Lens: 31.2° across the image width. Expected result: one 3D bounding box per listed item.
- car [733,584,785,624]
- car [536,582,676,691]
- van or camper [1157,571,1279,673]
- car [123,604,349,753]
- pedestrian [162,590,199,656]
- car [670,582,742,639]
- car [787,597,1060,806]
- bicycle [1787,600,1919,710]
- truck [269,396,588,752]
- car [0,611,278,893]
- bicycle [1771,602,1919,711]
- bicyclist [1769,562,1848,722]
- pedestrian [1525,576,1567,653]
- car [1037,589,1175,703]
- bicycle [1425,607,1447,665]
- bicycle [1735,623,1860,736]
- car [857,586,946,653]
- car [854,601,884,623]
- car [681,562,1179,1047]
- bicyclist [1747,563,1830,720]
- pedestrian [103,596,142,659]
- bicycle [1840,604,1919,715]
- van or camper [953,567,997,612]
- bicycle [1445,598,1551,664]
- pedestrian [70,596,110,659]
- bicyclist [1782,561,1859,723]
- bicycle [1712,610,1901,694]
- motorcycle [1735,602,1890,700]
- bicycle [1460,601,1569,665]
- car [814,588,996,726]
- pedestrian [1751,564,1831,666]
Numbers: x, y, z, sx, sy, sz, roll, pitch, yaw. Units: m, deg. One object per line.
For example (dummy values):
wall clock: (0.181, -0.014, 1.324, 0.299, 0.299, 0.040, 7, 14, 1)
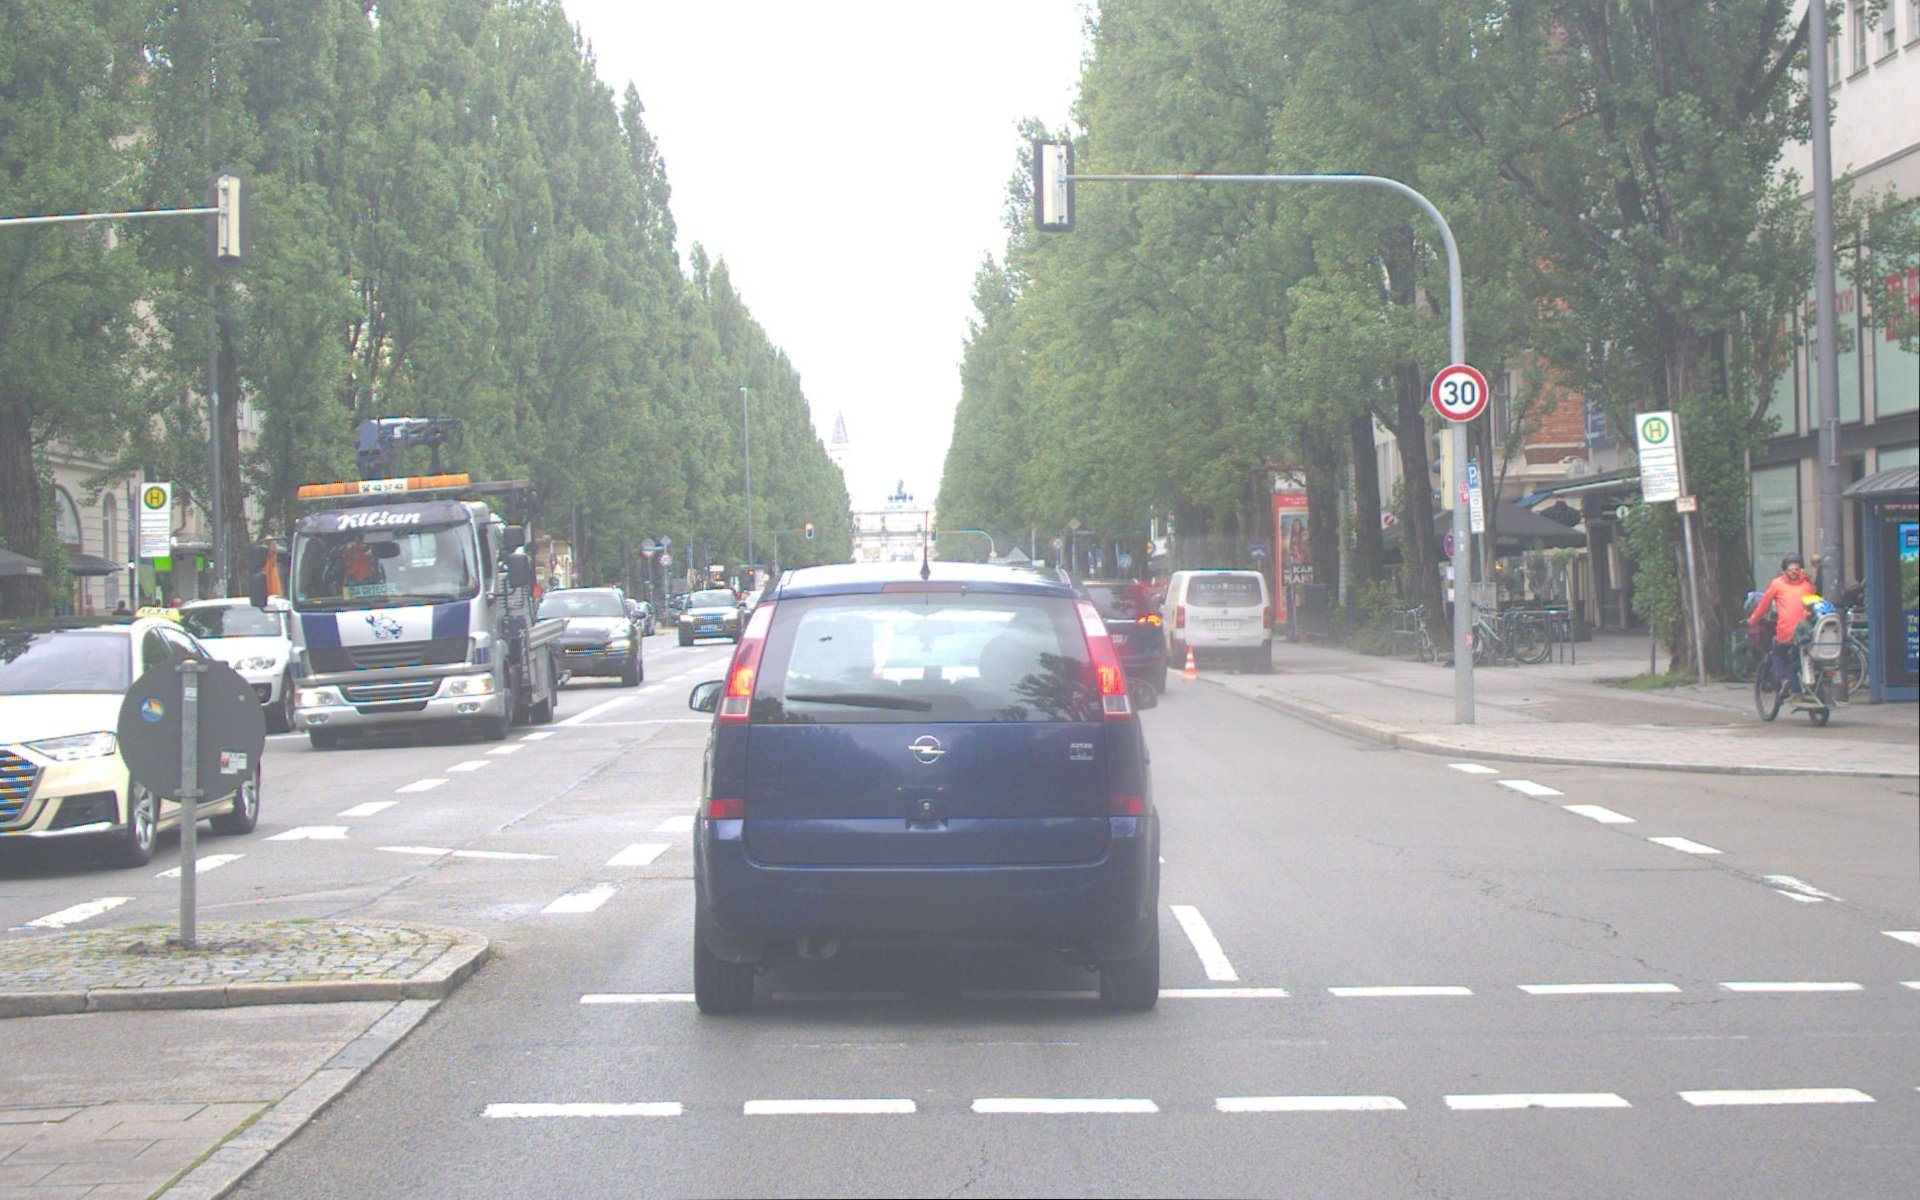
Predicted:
car: (-8.212, 0.148, 141.007, 1.935, 1.618, 4.336, -1, 0, -1)
car: (-5.908, 0.577, 57.856, 1.884, 1.740, 4.439, -1, 0, 0)
van or camper: (4.921, 0.397, 66.214, 1.868, 1.876, 4.903, 0, 0, -1)
car: (-9.072, 0.939, 43.434, 1.837, 1.710, 4.636, -2, 0, 0)
pedestrian: (-20.010, 0.586, 88.278, 0.734, 1.667, 0.952, -1, 0, -1)
car: (-7.694, 0.304, 104.409, 1.913, 1.675, 4.586, -1, 0, -1)
car: (-0.332, 0.752, 27.472, 1.993, 1.492, 4.000, -1, 0, -2)
bicycle: (10.825, 0.630, 39.914, 2.315, 1.248, 0.477, -1, 0, -1)
truck: (-5.987, -0.289, 39.983, 2.463, 3.658, 8.440, -1, 0, -1)
car: (-5.630, 0.863, 21.360, 1.843, 1.496, 4.986, -2, 0, -1)
bicycle: (10.844, 0.654, 40.640, 2.343, 1.248, 0.633, -1, 0, -1)
bicyclist: (8.508, 0.416, 34.481, 0.621, 1.583, 0.481, -1, 0, -1)
pedestrian: (14.116, 0.353, 82.864, 0.826, 1.835, 1.099, -1, 0, 2)
car: (2.072, 0.650, 49.710, 1.706, 1.569, 4.000, 0, -1, -2)
bicycle: (8.894, 0.665, 64.247, 0.364, 1.034, 1.730, -1, 0, 7)
bicycle: (8.506, 0.789, 34.992, 0.626, 1.083, 2.264, -1, 0, -2)
car: (-1.375, 0.432, 79.445, 1.993, 1.492, 4.000, -1, 0, -2)
car: (-5.971, 0.763, 225.558, 1.961, 1.395, 3.779, -1, 0, -1)
car: (-0.164, 0.683, 13.651, 1.681, 1.635, 4.000, 0, 0, -2)
bicyclist: (8.490, 0.420, 35.242, 0.621, 1.583, 0.753, -1, 0, -1)
pedestrian: (-20.927, 0.681, 85.868, 0.768, 1.532, 0.805, -1, 0, -1)
bicycle: (11.078, 0.662, 38.647, 2.242, 1.248, 0.476, -1, 0, 24)
van or camper: (0.868, -0.629, 202.728, 2.476, 2.572, 5.844, -1, 0, -1)
bicycle: (9.298, 0.532, 59.431, 1.737, 1.107, 0.448, -1, 0, -11)
pedestrian: (-21.752, 0.682, 85.954, 0.768, 1.532, 0.805, -1, 0, -1)
bicyclist: (8.522, 0.415, 34.064, 0.621, 1.583, 0.391, -1, 0, -1)
bicycle: (10.646, 0.647, 43.294, 2.148, 1.013, 0.874, -1, 0, -1)
motorcycle: (10.286, 0.612, 41.525, 1.724, 1.136, 0.510, -1, 0, 1)
bicycle: (9.471, 0.560, 58.732, 1.757, 1.040, 0.484, -1, 0, -12)
car: (-0.672, 0.626, 40.177, 1.993, 1.492, 4.000, -1, 0, -2)
pedestrian: (13.853, 0.253, 57.325, 0.984, 1.668, 0.825, -1, 0, -37)
